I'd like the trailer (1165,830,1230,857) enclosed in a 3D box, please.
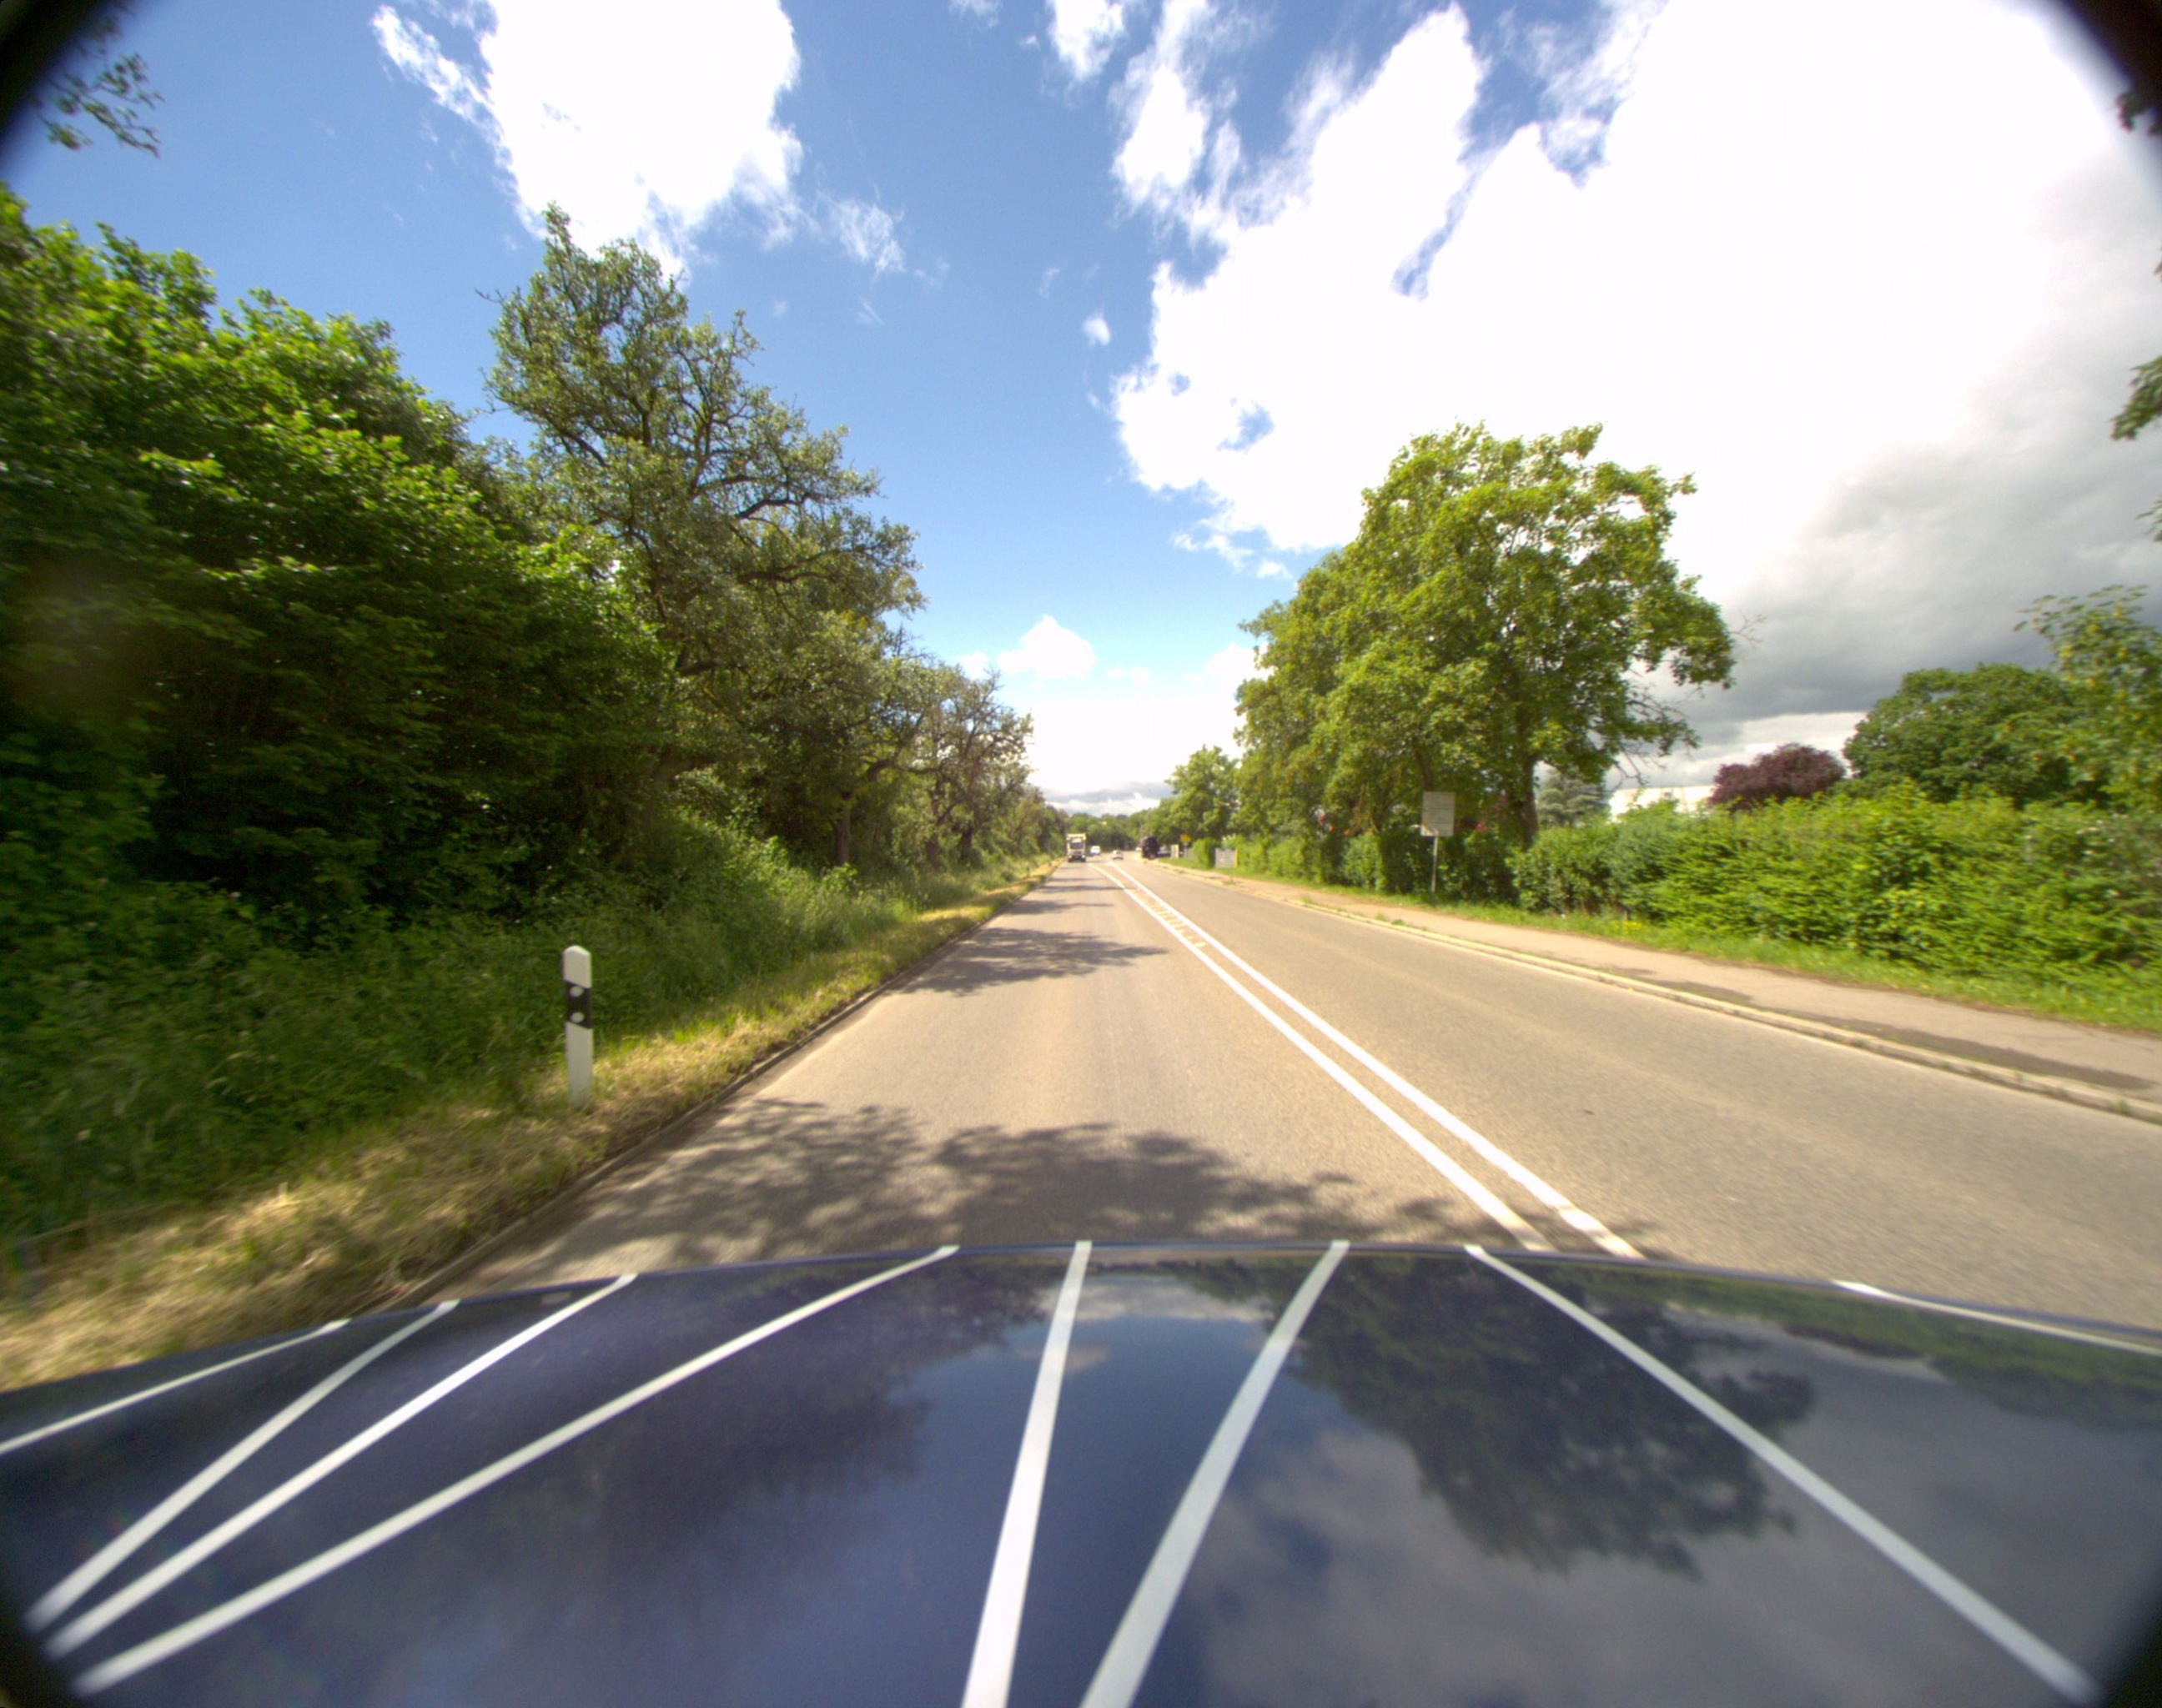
[{"bbox_3d":[17.931,-1.599,117.239,9.472,4.060,3.315,0,1,-14],"label":"trailer"}]

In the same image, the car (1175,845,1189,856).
[{"bbox_3d":[16.477,-0.620,124.096,1.935,1.711,4.600,-1,1,2],"label":"car"}]

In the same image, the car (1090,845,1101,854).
[{"bbox_3d":[3.116,-0.981,162.625,1.953,2.002,4.002,0,1,8],"label":"car"}]

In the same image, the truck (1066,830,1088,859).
[{"bbox_3d":[-0.457,-1.323,105.531,2.904,3.746,9.633,0,1,1],"label":"truck"}]

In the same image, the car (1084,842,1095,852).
[{"bbox_3d":[1.673,-1.336,146.550,1.953,2.002,4.001,0,1,5],"label":"car"}]

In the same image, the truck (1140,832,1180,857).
[{"bbox_3d":[12.049,-1.501,116.137,5.570,3.802,2.983,0,1,-4],"label":"truck"}]
